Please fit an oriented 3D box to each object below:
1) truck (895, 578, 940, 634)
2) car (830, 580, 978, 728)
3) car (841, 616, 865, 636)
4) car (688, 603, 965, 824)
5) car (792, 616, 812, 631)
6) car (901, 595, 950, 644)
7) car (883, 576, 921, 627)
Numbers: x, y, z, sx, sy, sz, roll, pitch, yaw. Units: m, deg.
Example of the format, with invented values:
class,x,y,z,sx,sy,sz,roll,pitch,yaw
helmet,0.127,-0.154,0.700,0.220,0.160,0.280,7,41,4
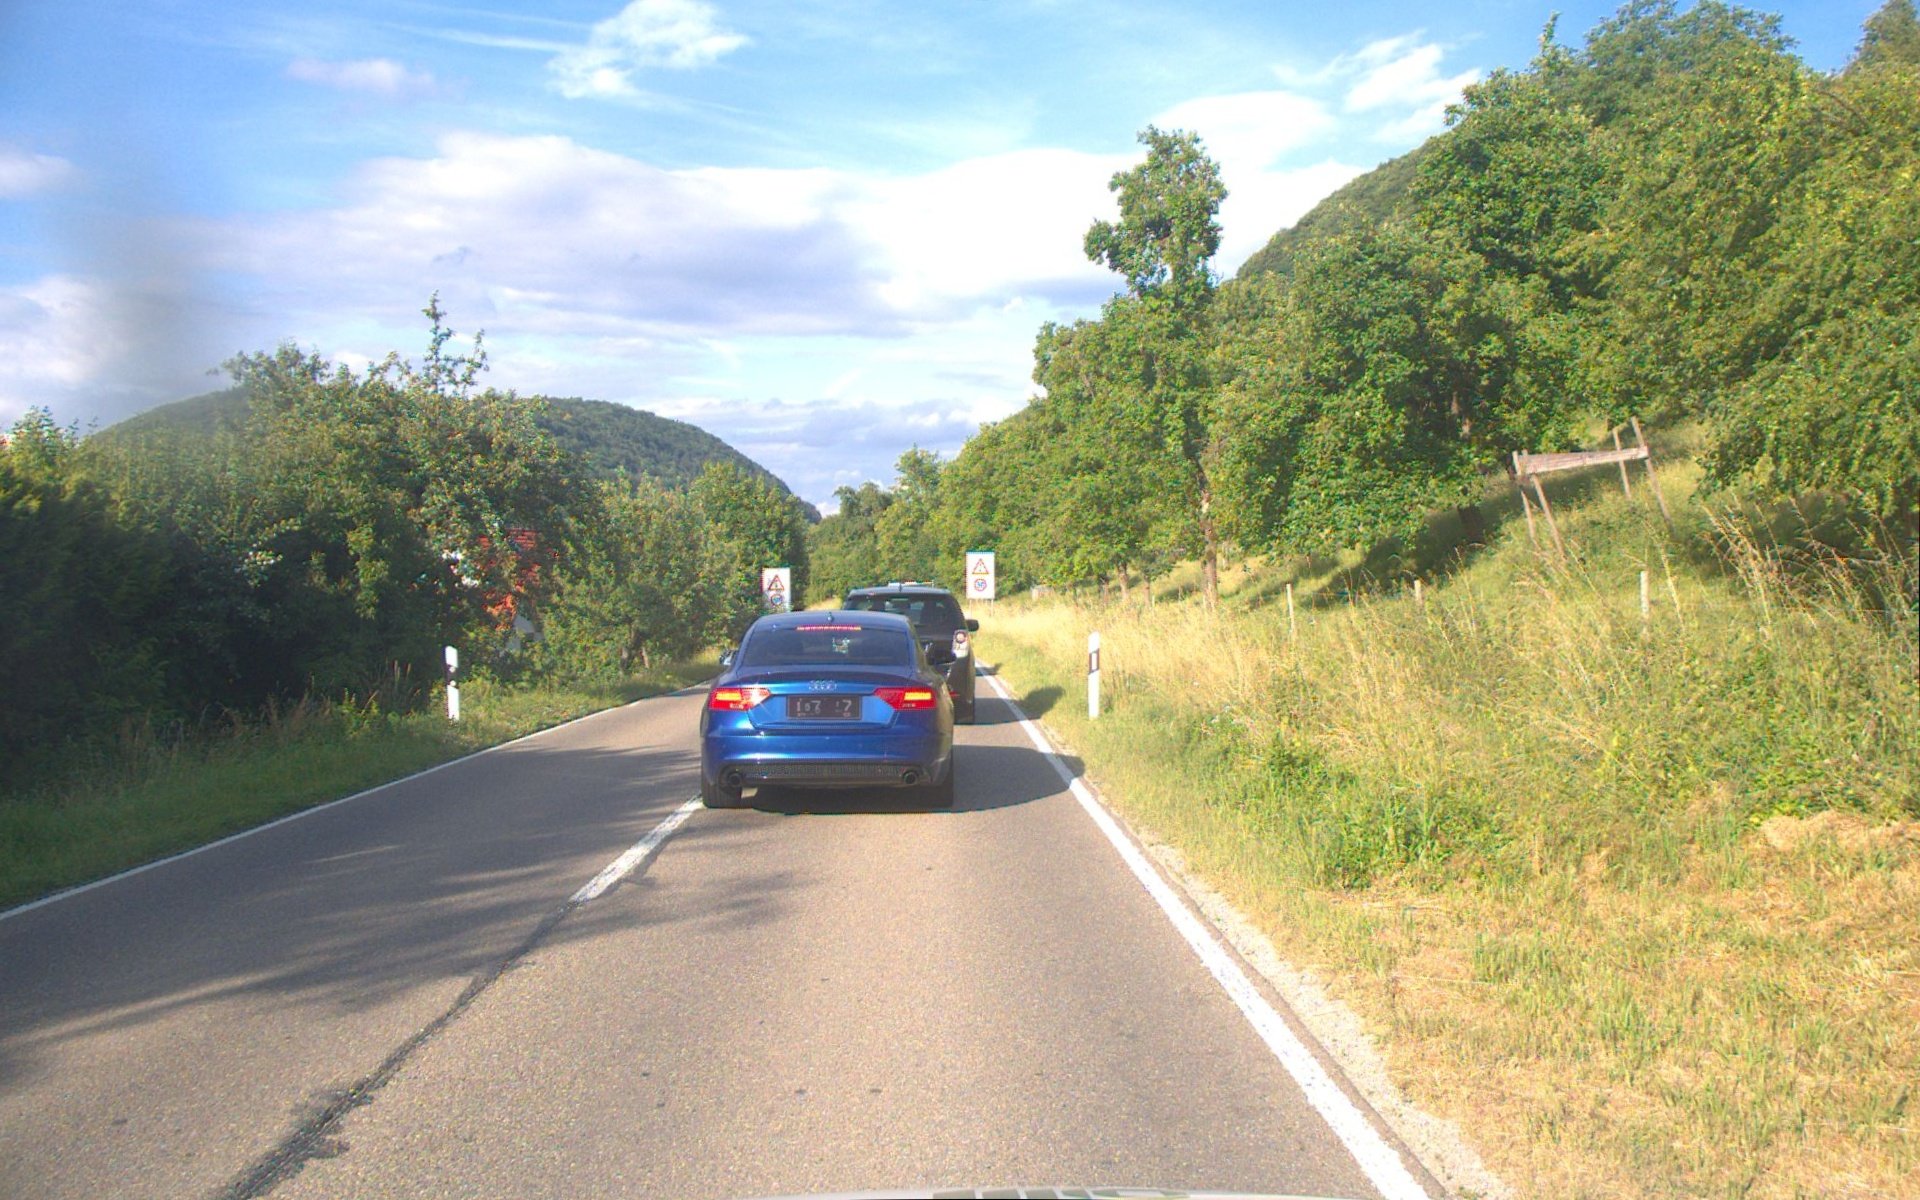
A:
class,x,y,z,sx,sy,sz,roll,pitch,yaw
truck,-1.942,0.273,73.863,1.911,2.386,5.091,1,0,-2
car,-0.686,0.604,20.499,1.658,1.652,3.788,0,0,-2
car,-8.825,2.135,136.388,1.530,1.522,3.769,1,0,-10
car,-0.904,0.748,12.766,1.769,1.406,4.213,0,-1,-1
car,-16.626,2.430,173.762,1.532,1.522,3.764,1,0,-14
car,-1.227,0.666,57.920,1.658,1.652,3.788,0,0,-2
car,-2.975,0.097,84.073,1.757,2.496,3.915,1,0,-4
